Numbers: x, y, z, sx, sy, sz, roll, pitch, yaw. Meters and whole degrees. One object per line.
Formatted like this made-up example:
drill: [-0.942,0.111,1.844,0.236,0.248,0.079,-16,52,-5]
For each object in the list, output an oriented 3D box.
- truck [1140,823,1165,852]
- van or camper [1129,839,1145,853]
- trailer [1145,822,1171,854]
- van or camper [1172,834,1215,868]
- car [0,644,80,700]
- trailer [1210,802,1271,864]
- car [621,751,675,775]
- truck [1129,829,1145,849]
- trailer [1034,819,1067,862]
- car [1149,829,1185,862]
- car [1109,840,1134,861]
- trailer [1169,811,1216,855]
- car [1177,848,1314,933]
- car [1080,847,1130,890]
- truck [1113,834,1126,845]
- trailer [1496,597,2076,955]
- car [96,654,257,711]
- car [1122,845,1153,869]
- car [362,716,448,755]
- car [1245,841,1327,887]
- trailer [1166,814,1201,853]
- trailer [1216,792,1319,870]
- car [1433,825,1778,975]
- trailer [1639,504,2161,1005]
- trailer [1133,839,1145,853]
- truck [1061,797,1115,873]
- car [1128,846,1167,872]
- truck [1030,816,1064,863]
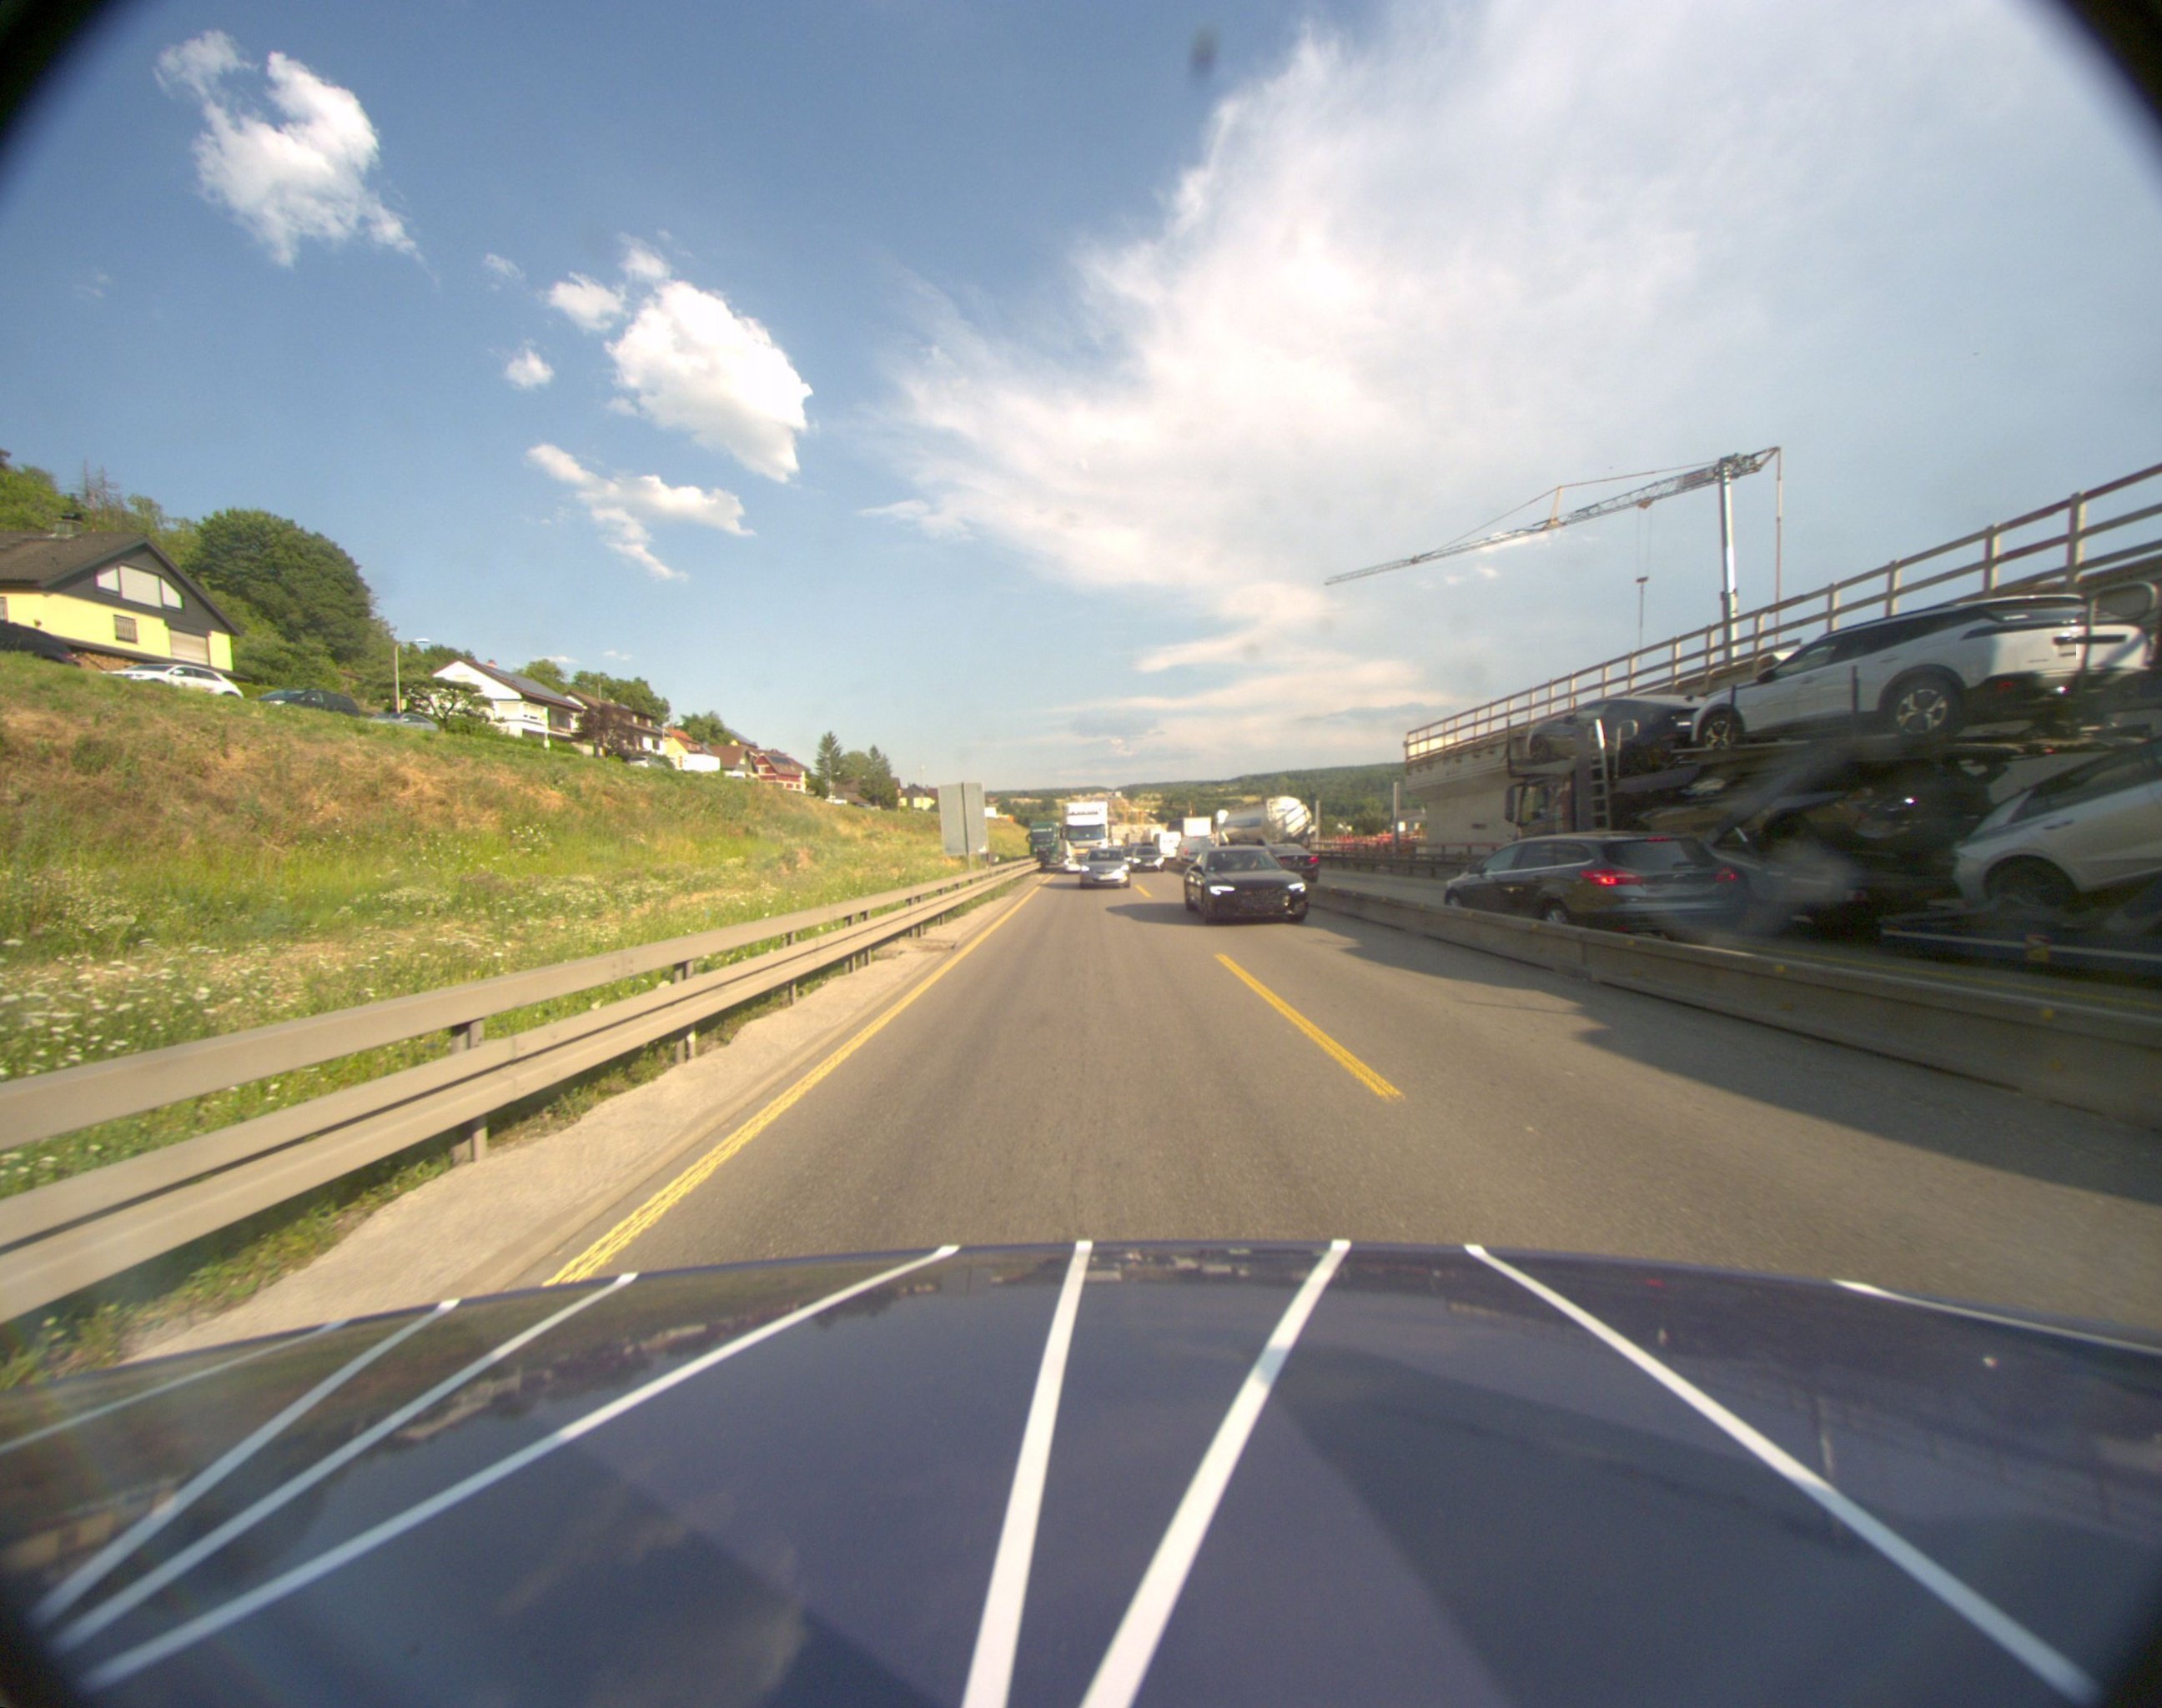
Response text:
truck: [11.104,-2.606,118.753,2.834,4.239,10.071,-2,1,1]
van or camper: [8.052,-1.206,109.661,1.868,1.881,5.003,-2,1,1]
trailer: [10.976,-2.313,109.353,2.834,4.258,8.734,-2,1,1]
van or camper: [7.245,-0.221,49.295,1.863,2.002,5.294,-2,1,-1]
car: [-31.631,-5.395,21.702,1.348,1.225,3.896,-3,1,-11]
trailer: [10.592,-1.385,51.101,2.659,3.828,6.428,-2,1,0]
car: [-34.712,-7.312,61.016,1.998,1.434,3.999,-2,1,0]
truck: [12.000,-3.254,162.766,2.873,4.038,7.597,-2,1,1]
trailer: [-2.933,-1.406,76.838,2.554,3.911,12.077,-2,1,1]
car: [7.362,-0.758,65.513,1.999,2.608,7.407,-2,1,-1]
car: [3.568,-0.306,67.818,1.918,1.746,4.000,-1,0,0]
trailer: [11.080,-2.061,76.964,2.932,4.013,13.772,-2,1,1]
car: [3.182,0.629,15.581,1.873,1.411,4.348,-2,1,0]
car: [0.836,0.480,27.771,1.671,1.425,3.523,-1,1,0]
truck: [13.339,-5.006,263.627,3.876,3.766,9.140,-2,1,1]
trailer: [10.129,-0.951,12.375,2.778,4.008,7.206,-2,1,1]
car: [-32.476,-6.124,27.468,1.347,1.225,3.898,-2,1,-6]
car: [4.168,0.206,56.598,1.998,1.740,4.000,-1,0,0]
car: [-33.350,-5.824,37.616,1.451,1.364,3.554,-3,1,-9]
car: [7.230,0.287,27.233,1.713,1.437,4.599,-2,1,1]
trailer: [11.227,-2.184,83.596,2.932,4.014,6.222,-2,1,1]
trailer: [10.557,-1.272,44.834,2.659,3.828,13.440,-2,1,0]
car: [6.726,0.464,10.450,1.761,1.569,4.338,-2,1,1]
trailer: [10.022,-0.798,3.964,2.778,4.008,15.760,-2,1,1]
trailer: [8.010,-1.133,105.647,1.452,1.843,2.983,-2,1,1]
truck: [0.489,-1.147,47.553,2.741,4.033,12.669,-2,1,1]
car: [3.670,0.220,42.428,1.692,1.293,3.882,-2,1,-1]
truck: [-3.050,-1.297,69.415,2.547,3.992,6.071,-2,1,1]
